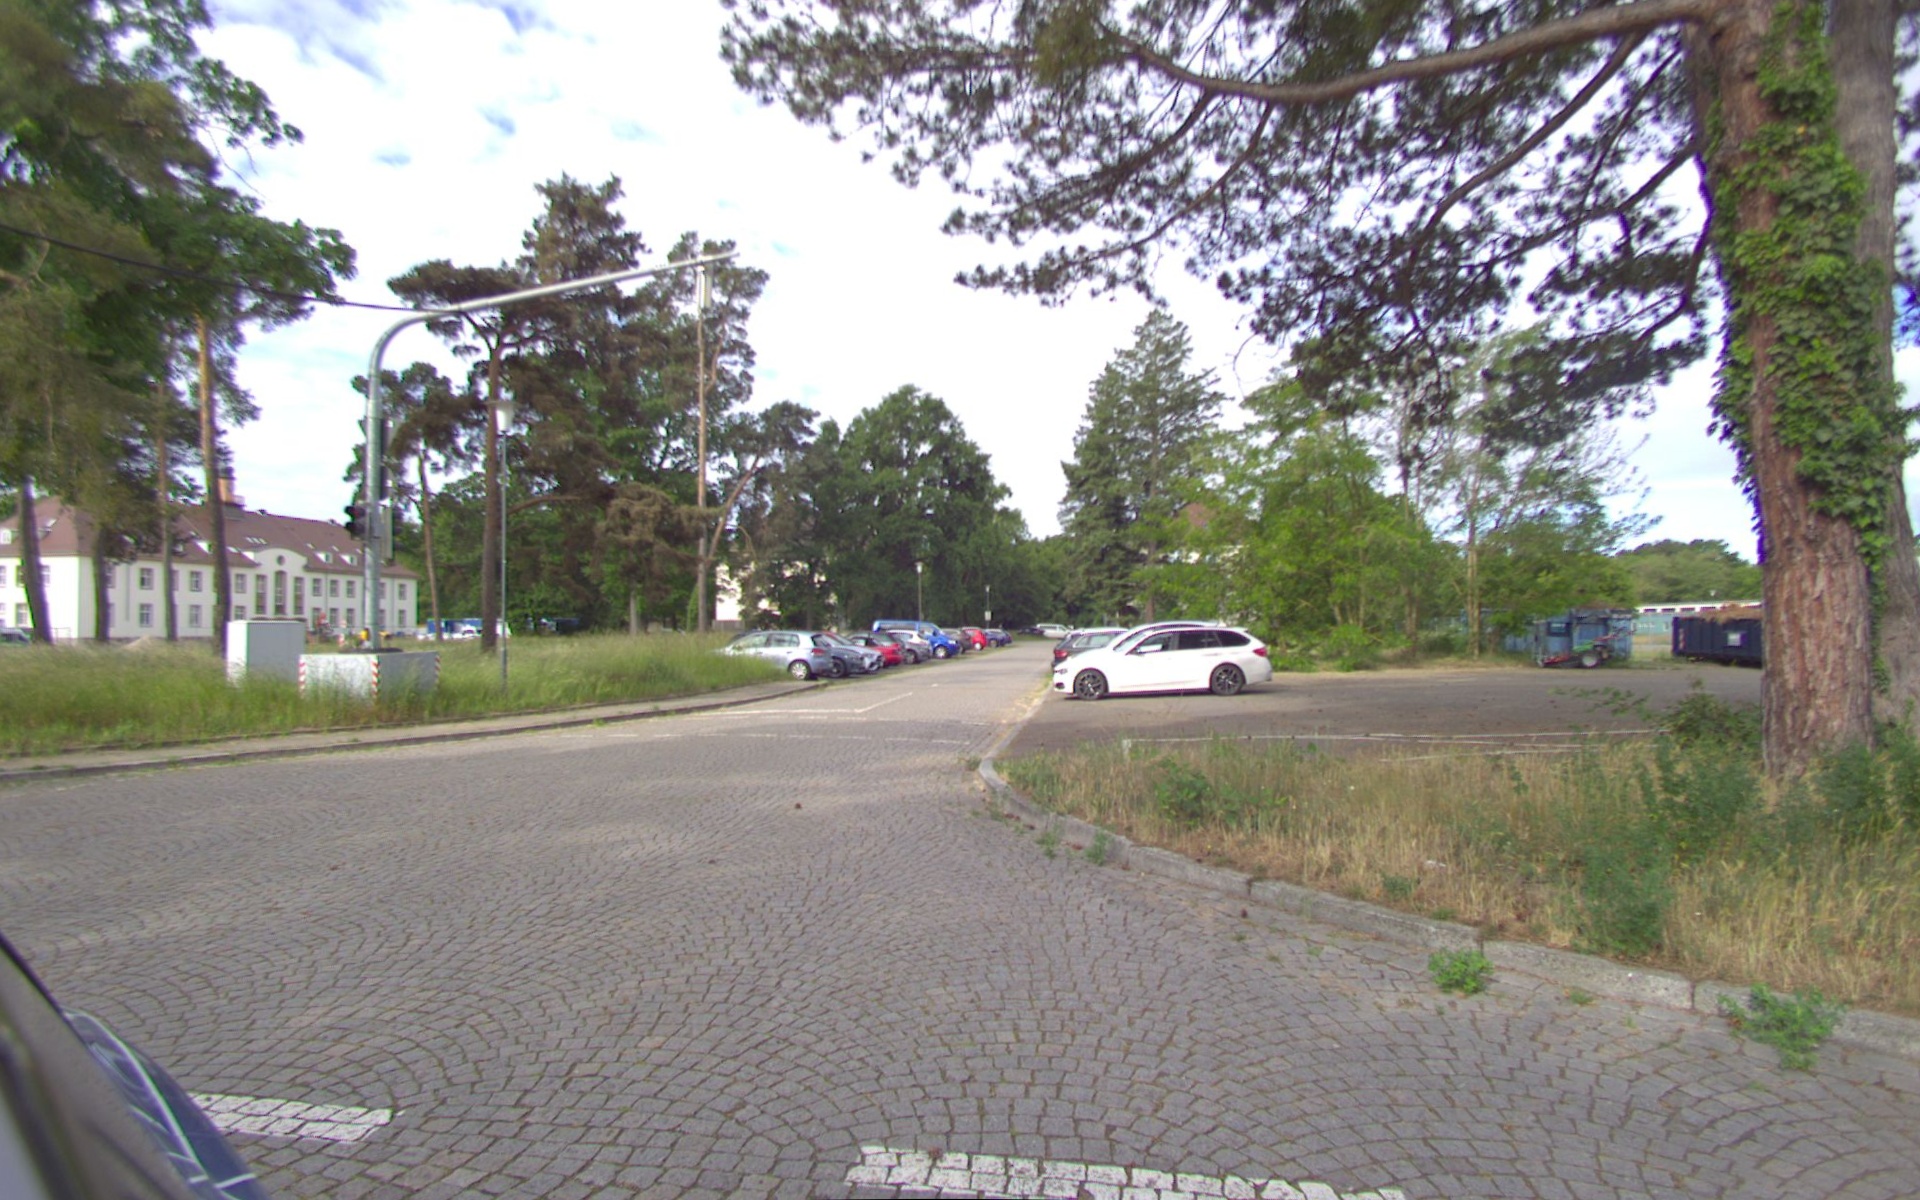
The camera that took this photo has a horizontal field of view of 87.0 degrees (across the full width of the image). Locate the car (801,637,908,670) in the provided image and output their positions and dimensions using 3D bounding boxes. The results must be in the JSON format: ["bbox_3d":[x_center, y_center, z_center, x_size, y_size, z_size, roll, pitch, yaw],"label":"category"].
[{"bbox_3d":[-4.157,2.098,40.069,3.892,1.244,1.791,-1,-2,10],"label":"car"}]

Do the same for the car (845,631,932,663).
[{"bbox_3d":[-3.393,2.244,48.404,3.891,1.460,1.791,-1,-2,9],"label":"car"}]

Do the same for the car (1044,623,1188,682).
[{"bbox_3d":[4.478,1.526,29.465,3.936,1.467,1.678,-3,-2,4],"label":"car"}]

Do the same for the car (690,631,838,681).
[{"bbox_3d":[-5.778,1.637,30.060,3.956,1.429,1.791,-1,-2,10],"label":"car"}]

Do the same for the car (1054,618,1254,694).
[{"bbox_3d":[4.499,1.313,24.064,4.431,1.602,1.844,-2,-2,5],"label":"car"}]

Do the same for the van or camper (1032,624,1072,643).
[{"bbox_3d":[12.280,4.418,135.022,5.188,2.482,2.205,-1,-2,7],"label":"van or camper"}]

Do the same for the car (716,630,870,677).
[{"bbox_3d":[-5.358,1.698,32.686,4.581,1.456,1.791,-1,-2,9],"label":"car"}]

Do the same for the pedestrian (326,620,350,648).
[{"bbox_3d":[-49.044,2.706,79.766,1.171,2.194,1.053,-1,-2,9],"label":"pedestrian"}]

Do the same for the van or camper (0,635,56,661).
[{"bbox_3d":[-87.428,4.436,93.467,6.053,2.324,2.460,0,-2,7],"label":"van or camper"}]

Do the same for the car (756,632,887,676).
[{"bbox_3d":[-4.804,1.856,35.341,4.225,1.456,1.790,-1,-2,12],"label":"car"}]

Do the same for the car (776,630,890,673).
[{"bbox_3d":[-4.701,1.902,37.667,3.894,1.524,1.790,-1,-2,12],"label":"car"}]

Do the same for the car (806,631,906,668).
[{"bbox_3d":[-4.376,2.069,42.769,3.892,1.487,1.791,-1,-2,10],"label":"car"}]

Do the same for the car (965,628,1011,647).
[{"bbox_3d":[2.429,3.199,87.097,3.752,1.637,1.993,-1,-2,10],"label":"car"}]

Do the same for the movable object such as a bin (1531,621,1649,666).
[{"bbox_3d":[17.697,1.230,28.512,2.510,1.221,1.167,-1,-2,8],"label":"movable object such as a bin"}]

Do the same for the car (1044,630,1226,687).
[{"bbox_3d":[4.535,1.531,26.773,4.578,1.433,1.881,0,-2,6],"label":"car"}]

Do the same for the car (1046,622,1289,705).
[{"bbox_3d":[4.261,1.327,21.469,4.763,1.450,1.909,-3,-2,7],"label":"car"}]

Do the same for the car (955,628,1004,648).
[{"bbox_3d":[1.623,3.090,82.703,3.752,1.581,1.993,-1,-2,10],"label":"car"}]

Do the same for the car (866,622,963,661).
[{"bbox_3d":[-2.394,2.185,53.527,4.796,2.029,1.992,-1,-2,13],"label":"car"}]

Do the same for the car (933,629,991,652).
[{"bbox_3d":[0.162,2.888,72.524,3.950,1.581,1.996,0,-2,6],"label":"car"}]

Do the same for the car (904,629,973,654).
[{"bbox_3d":[-1.323,2.547,62.370,3.957,1.516,1.863,-1,-2,11],"label":"car"}]

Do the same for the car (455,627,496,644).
[{"bbox_3d":[-57.148,4.170,119.392,2.141,2.029,4.824,-1,-2,6],"label":"car"}]

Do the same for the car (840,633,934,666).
[{"bbox_3d":[-3.247,2.200,45.290,3.891,1.446,1.791,-1,-2,9],"label":"car"}]
